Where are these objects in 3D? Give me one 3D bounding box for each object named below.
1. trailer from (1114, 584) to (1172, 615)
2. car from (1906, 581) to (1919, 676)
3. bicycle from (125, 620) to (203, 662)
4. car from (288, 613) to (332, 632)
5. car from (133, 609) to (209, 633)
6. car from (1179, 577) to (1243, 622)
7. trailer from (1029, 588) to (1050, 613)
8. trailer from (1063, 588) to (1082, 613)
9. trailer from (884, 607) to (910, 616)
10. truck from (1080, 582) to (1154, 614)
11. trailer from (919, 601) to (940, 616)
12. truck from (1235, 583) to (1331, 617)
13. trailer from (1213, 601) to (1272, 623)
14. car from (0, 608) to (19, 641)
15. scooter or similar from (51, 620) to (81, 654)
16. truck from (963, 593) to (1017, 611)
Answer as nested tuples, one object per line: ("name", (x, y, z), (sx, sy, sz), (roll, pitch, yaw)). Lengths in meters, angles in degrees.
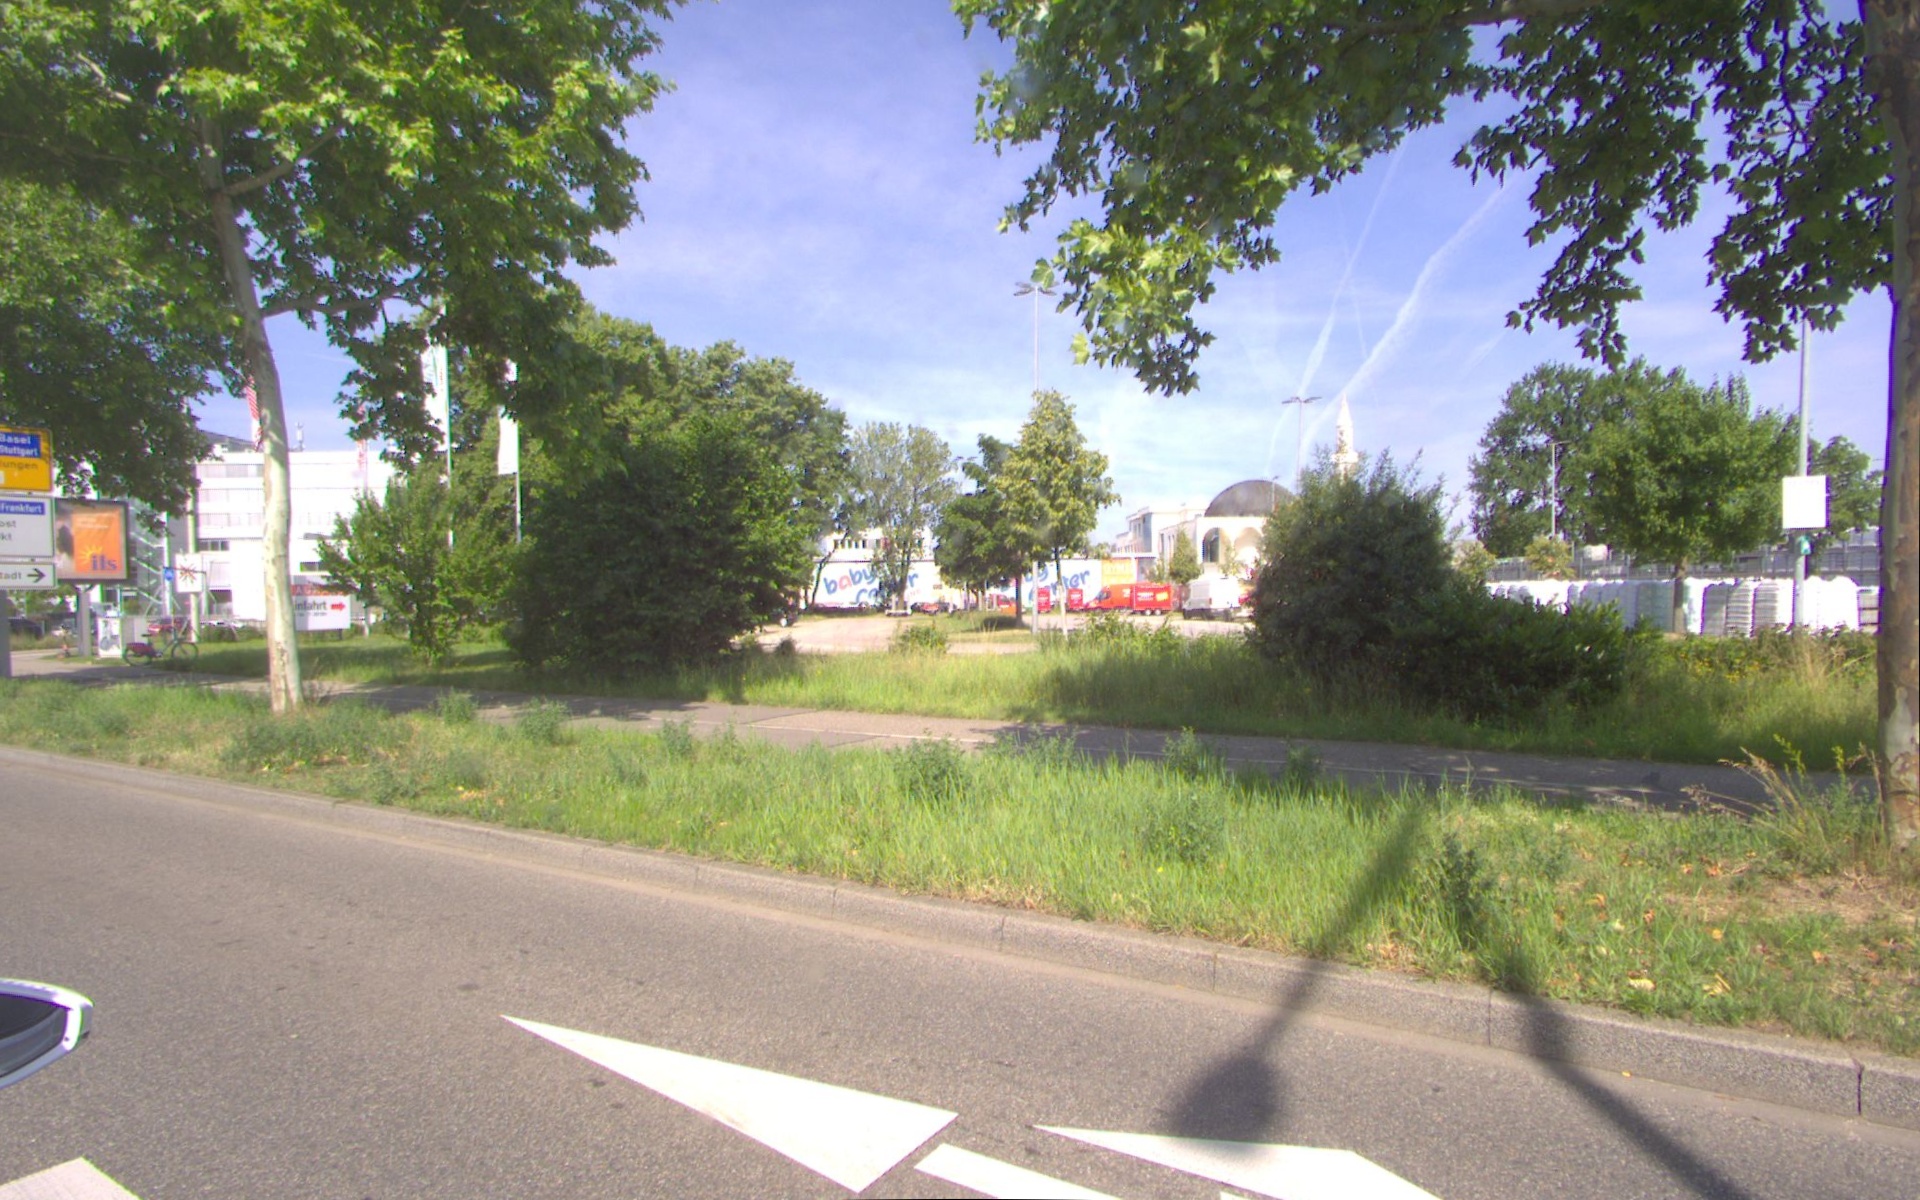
("trailer", (14.504, -0.042, 79.447), (4.325, 2.409, 1.751), (0, 1, 0))
("car", (16.432, 0.467, 15.240), (1.820, 1.606, 3.849), (-1, 0, 25))
("bicycle", (-23.810, 1.211, 29.990), (1.771, 1.123, 0.499), (-3, 2, -40))
("car", (-57.324, 1.989, 88.398), (1.962, 1.585, 3.606), (0, -2, -10))
("car", (-54.006, 1.410, 68.639), (1.747, 1.463, 4.625), (-1, 0, -4))
("car", (15.512, -0.045, 62.218), (1.980, 2.576, 5.687), (-3, 0, -6))
("trailer", (7.746, 0.020, 97.806), (1.560, 2.408, 4.410), (0, 1, -1))
("trailer", (10.893, 0.032, 97.188), (1.520, 2.390, 4.410), (0, 1, 2))
("trailer", (-5.947, 1.119, 94.906), (2.059, 0.792, 4.411), (-1, 0, 1))
("truck", (13.329, -0.138, 85.183), (5.914, 2.644, 2.018), (0, 0, -6))
("trailer", (-2.933, 0.810, 95.654), (1.560, 1.304, 4.409), (-1, 0, -7))
("truck", (21.619, 0.002, 67.180), (5.751, 2.168, 2.066), (-1, 0, -1))
("trailer", (15.929, 0.661, 56.627), (2.029, 1.137, 4.031), (-3, 0, -2))
("car", (-50.144, 1.267, 50.120), (1.879, 1.711, 4.625), (-1, 0, -4))
("scooter or similar", (-29.903, 1.231, 33.505), (1.107, 1.141, 0.423), (0, 1, 32))
("truck", (3.366, 0.232, 112.920), (5.888, 1.855, 2.188), (0, -2, -2))
